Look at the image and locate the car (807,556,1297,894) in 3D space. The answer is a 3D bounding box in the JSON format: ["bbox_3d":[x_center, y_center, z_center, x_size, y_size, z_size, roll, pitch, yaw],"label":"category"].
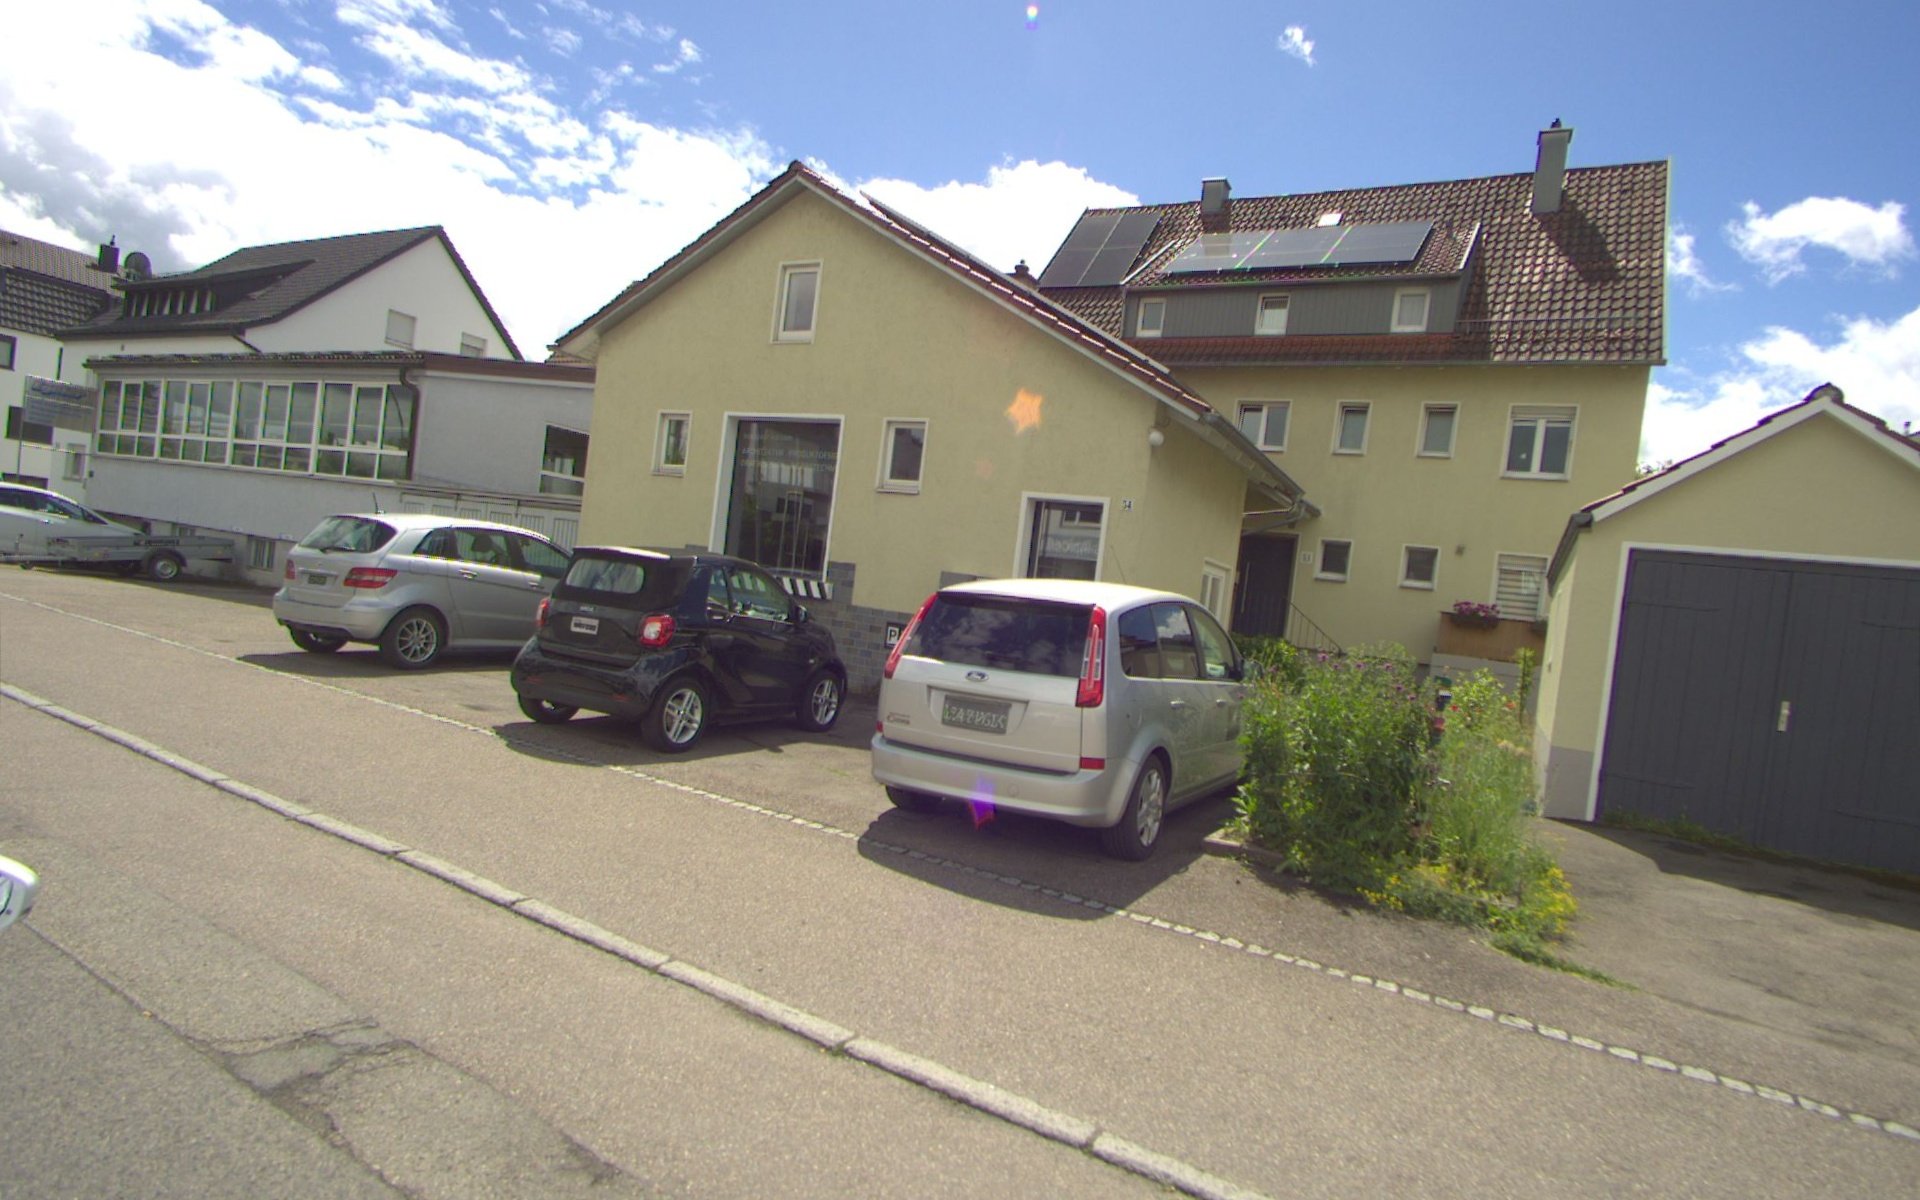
[{"bbox_3d":[1.032,0.635,7.431,1.940,1.546,4.409,7,3,28],"label":"car"}]

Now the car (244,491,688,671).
[{"bbox_3d":[-5.594,-0.203,12.033,1.940,1.630,4.409,7,3,28],"label":"car"}]

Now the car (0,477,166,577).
[{"bbox_3d":[-18.845,-1.569,20.330,1.719,1.627,3.908,7,-2,29],"label":"car"}]

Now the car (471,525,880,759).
[{"bbox_3d":[-2.355,0.285,8.881,1.940,1.546,2.889,7,3,28],"label":"car"}]

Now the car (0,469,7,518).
[{"bbox_3d":[-32.809,-3.655,33.086,3.609,1.540,1.628,9,5,38],"label":"car"}]

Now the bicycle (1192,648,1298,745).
[{"bbox_3d":[3.669,1.185,12.765,0.694,1.026,2.574,7,0,27],"label":"bicycle"}]

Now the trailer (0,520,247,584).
[{"bbox_3d":[-16.314,-0.914,19.405,1.628,0.818,3.821,7,0,29],"label":"trailer"}]
